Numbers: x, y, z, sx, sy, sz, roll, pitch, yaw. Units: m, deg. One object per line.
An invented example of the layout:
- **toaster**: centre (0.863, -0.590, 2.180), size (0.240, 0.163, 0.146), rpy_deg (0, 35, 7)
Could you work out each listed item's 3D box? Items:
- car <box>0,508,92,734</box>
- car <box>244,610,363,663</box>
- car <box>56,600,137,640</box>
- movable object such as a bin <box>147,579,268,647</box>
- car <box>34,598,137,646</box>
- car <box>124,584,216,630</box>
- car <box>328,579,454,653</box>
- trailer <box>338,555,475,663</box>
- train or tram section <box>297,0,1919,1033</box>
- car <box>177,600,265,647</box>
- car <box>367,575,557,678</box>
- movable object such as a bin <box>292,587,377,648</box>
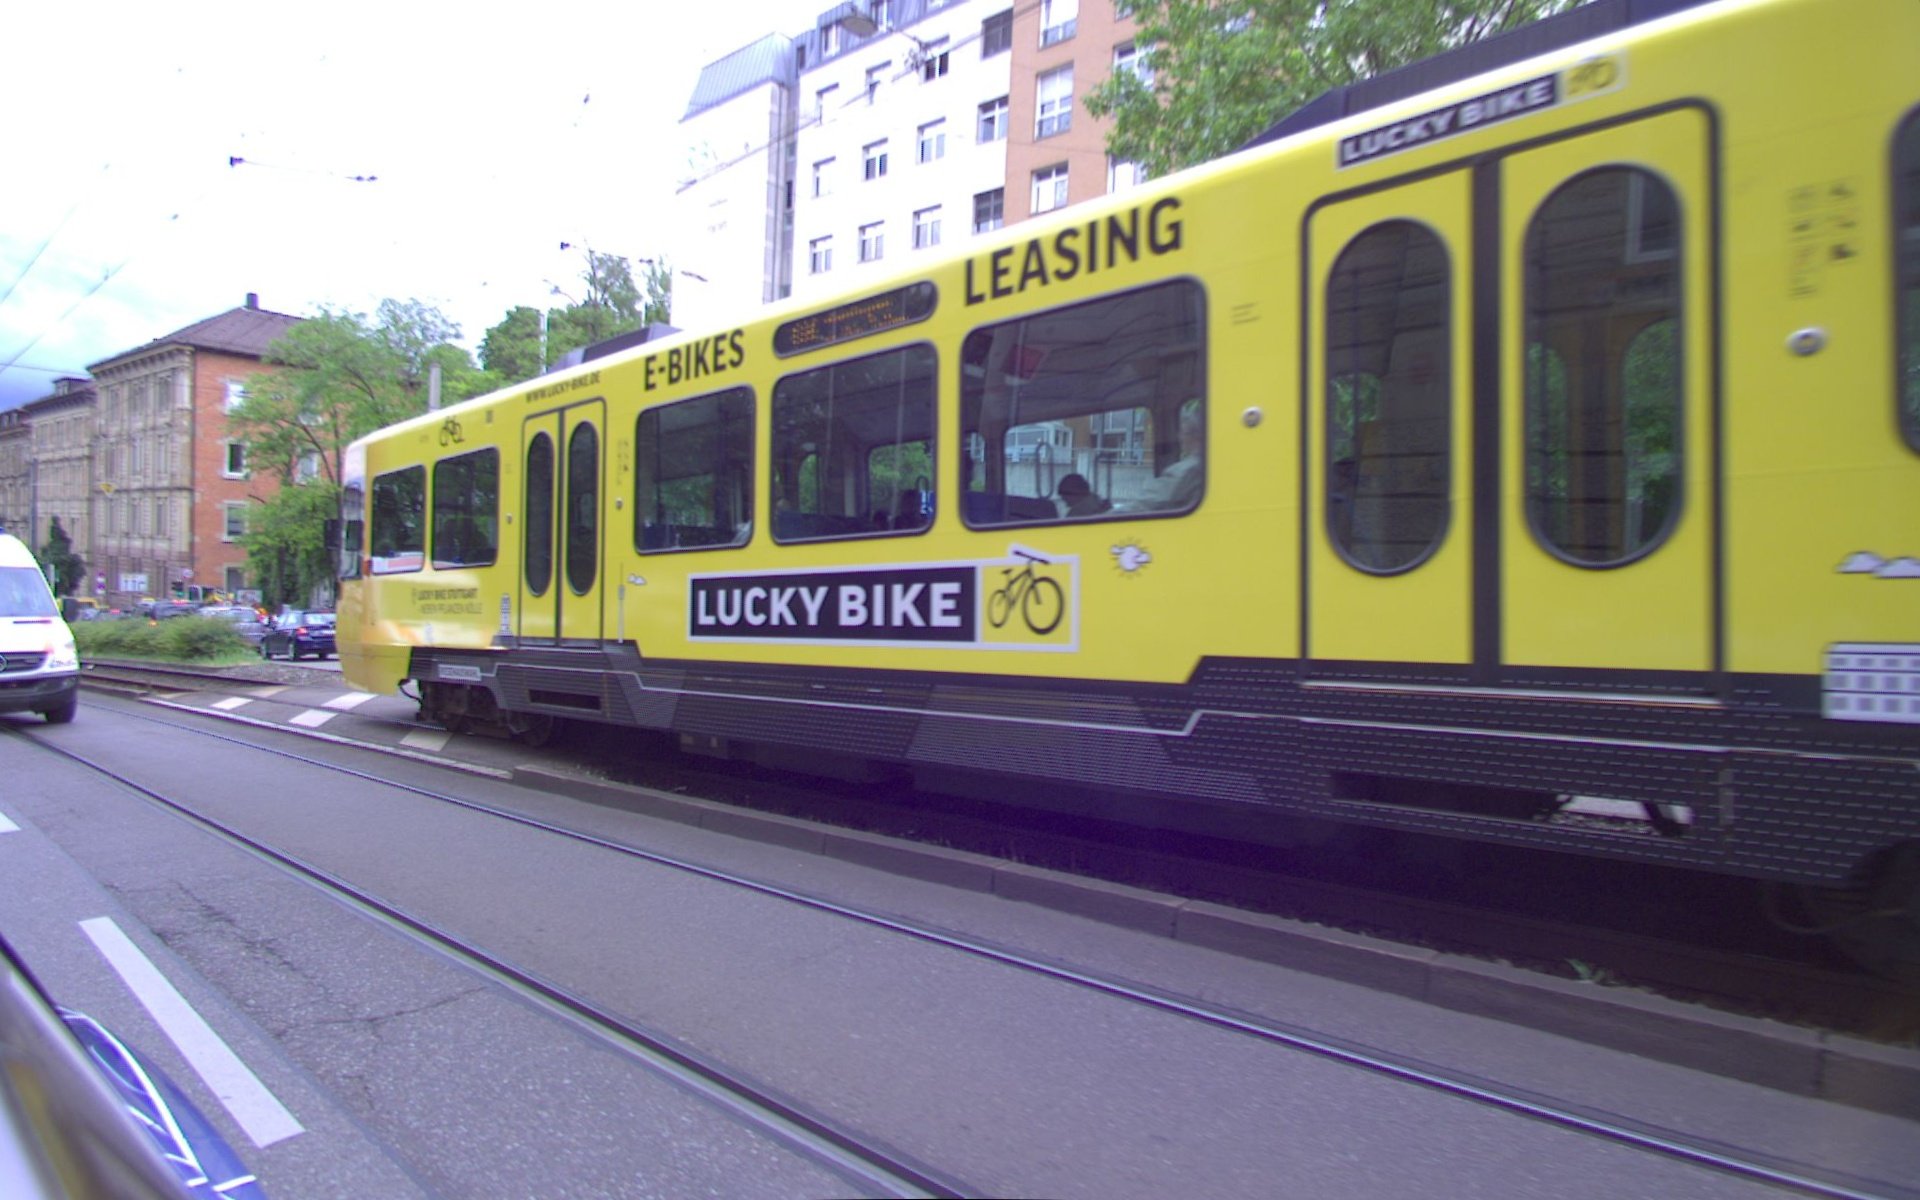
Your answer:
- **car**: centre (-14.039, 0.313, 13.737), size (5.840, 2.720, 2.016), rpy_deg (-1, -1, 35)
- **car**: centre (-18.956, 1.015, 29.168), size (4.078, 1.418, 1.749), rpy_deg (-1, -1, 39)
- **car**: centre (-37.044, 0.870, 43.388), size (4.617, 1.617, 1.973), rpy_deg (-1, -1, 41)
- **movable object such as a bin**: centre (-41.996, 0.771, 56.480), size (6.512, 3.575, 2.732), rpy_deg (-1, -1, 26)
- **car**: centre (-47.482, 1.182, 54.915), size (6.732, 2.454, 2.422), rpy_deg (-1, 0, 32)
- **car**: centre (-30.037, 0.304, 38.420), size (4.608, 1.617, 1.972), rpy_deg (-1, -1, 42)
- **car**: centre (-21.777, 0.620, 38.595), size (6.331, 2.613, 2.135), rpy_deg (-1, -1, 40)
- **trailer**: centre (-16.875, 0.243, 30.707), size (5.591, 2.995, 1.997), rpy_deg (-1, 1, 44)
- **train or tram section**: centre (-1.459, -0.562, 8.491), size (14.848, 3.753, 2.853), rpy_deg (-1, 1, 41)
- **car**: centre (-24.175, 0.764, 33.068), size (3.739, 1.454, 1.641), rpy_deg (-1, -1, 43)
- **car**: centre (-10.767, 0.555, 21.697), size (5.000, 1.961, 1.927), rpy_deg (-2, -1, 42)
- **movable object such as a bin**: centre (-27.257, 0.753, 44.059), size (4.094, 2.486, 1.914), rpy_deg (-2, 0, 40)
